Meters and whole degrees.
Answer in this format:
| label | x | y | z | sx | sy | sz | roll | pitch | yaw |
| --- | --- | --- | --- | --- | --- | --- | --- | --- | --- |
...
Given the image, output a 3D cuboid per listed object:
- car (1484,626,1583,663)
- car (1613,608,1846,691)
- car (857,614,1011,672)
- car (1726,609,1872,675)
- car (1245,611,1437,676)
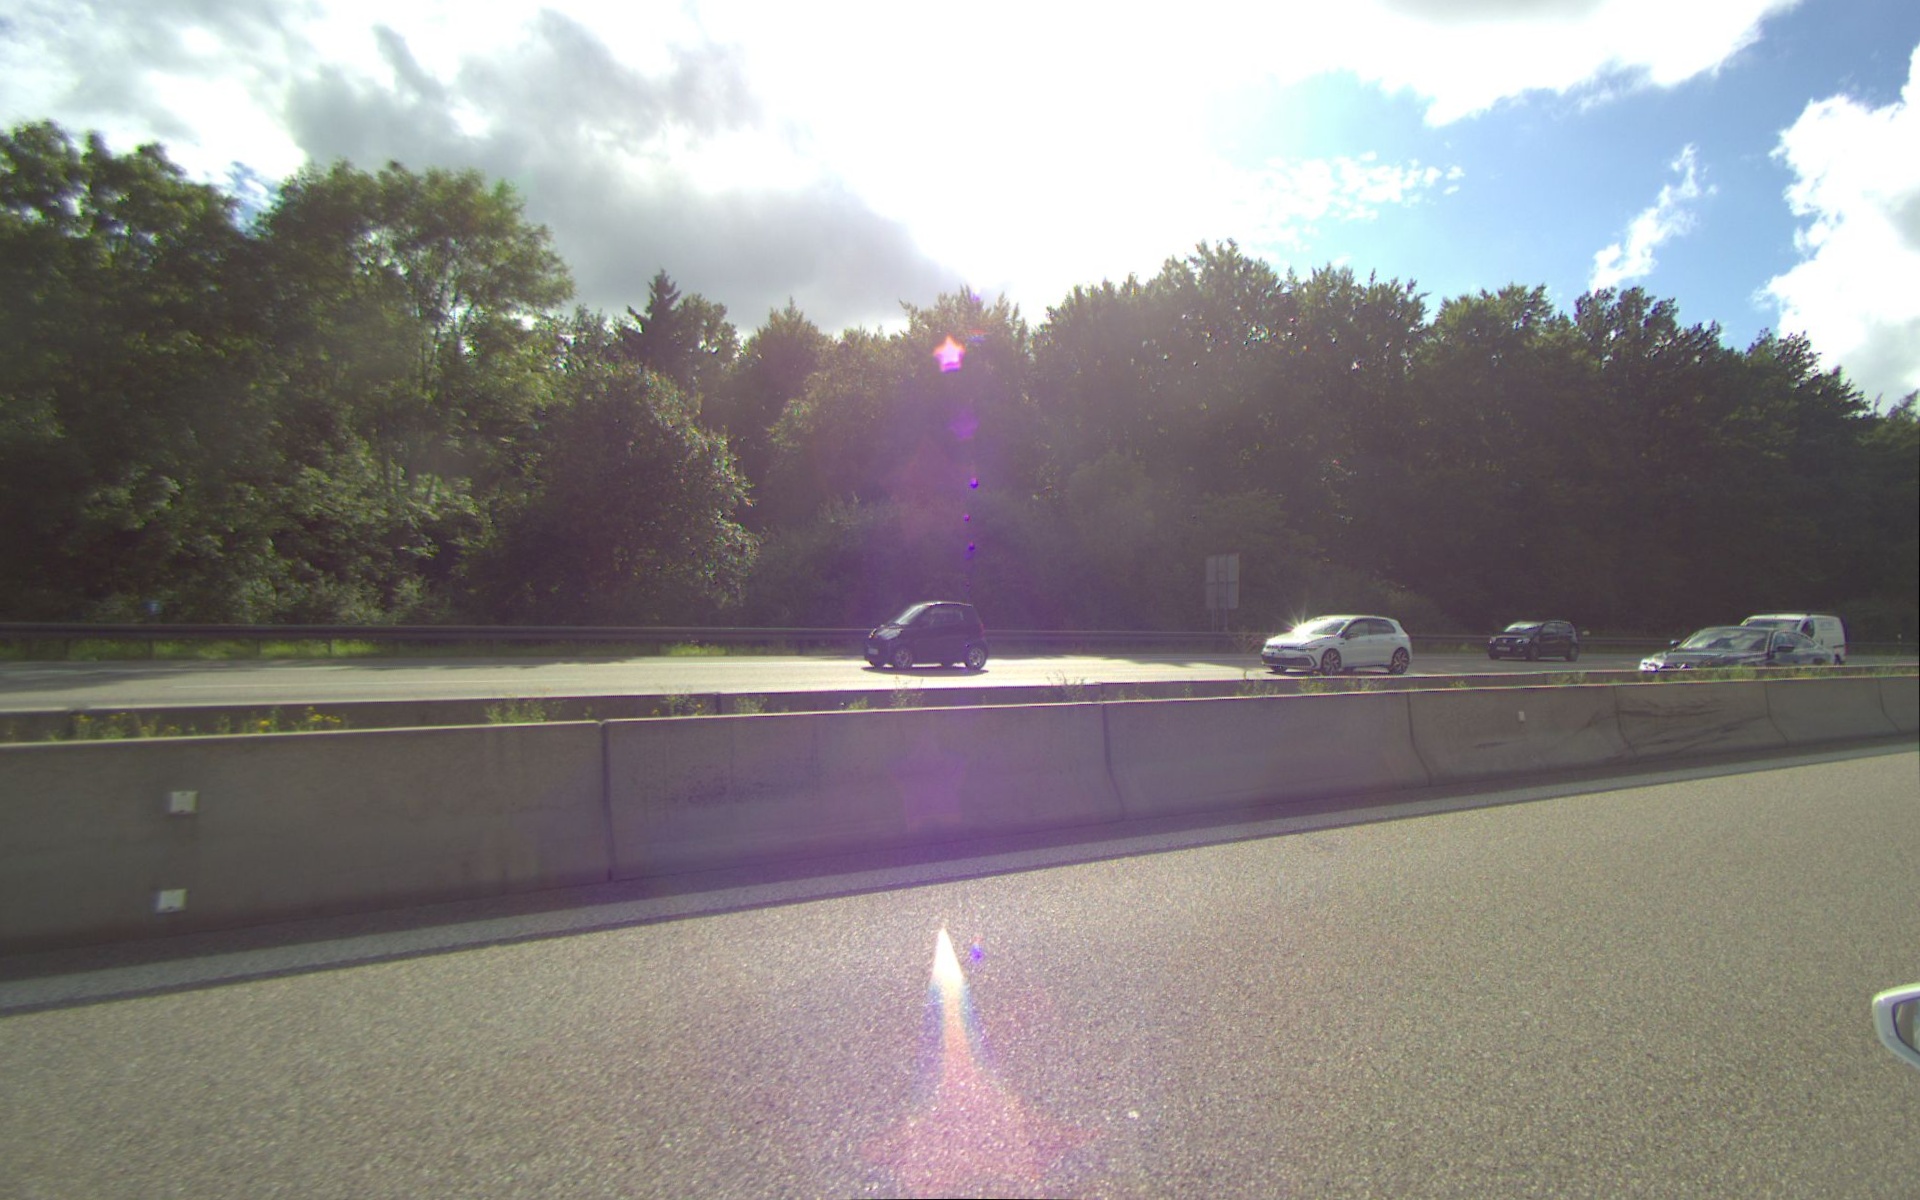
| label | x | y | z | sx | sy | sz | roll | pitch | yaw |
| --- | --- | --- | --- | --- | --- | --- | --- | --- | --- |
| car | 20.906 | 1.606 | 36.570 | 3.744 | 1.228 | 1.486 | 1 | 0 | -31 |
| car | 15.011 | 0.920 | 19.546 | 4.693 | 1.409 | 1.984 | 1 | 0 | -30 |
| car | -0.591 | 0.969 | 23.197 | 3.231 | 1.228 | 1.486 | 1 | 0 | -30 |
| car | 25.891 | 1.269 | 30.966 | 4.673 | 1.862 | 1.984 | 1 | 0 | -30 |
| car | 9.702 | 1.089 | 25.539 | 4.613 | 1.492 | 2.063 | 1 | 0 | -29 |
